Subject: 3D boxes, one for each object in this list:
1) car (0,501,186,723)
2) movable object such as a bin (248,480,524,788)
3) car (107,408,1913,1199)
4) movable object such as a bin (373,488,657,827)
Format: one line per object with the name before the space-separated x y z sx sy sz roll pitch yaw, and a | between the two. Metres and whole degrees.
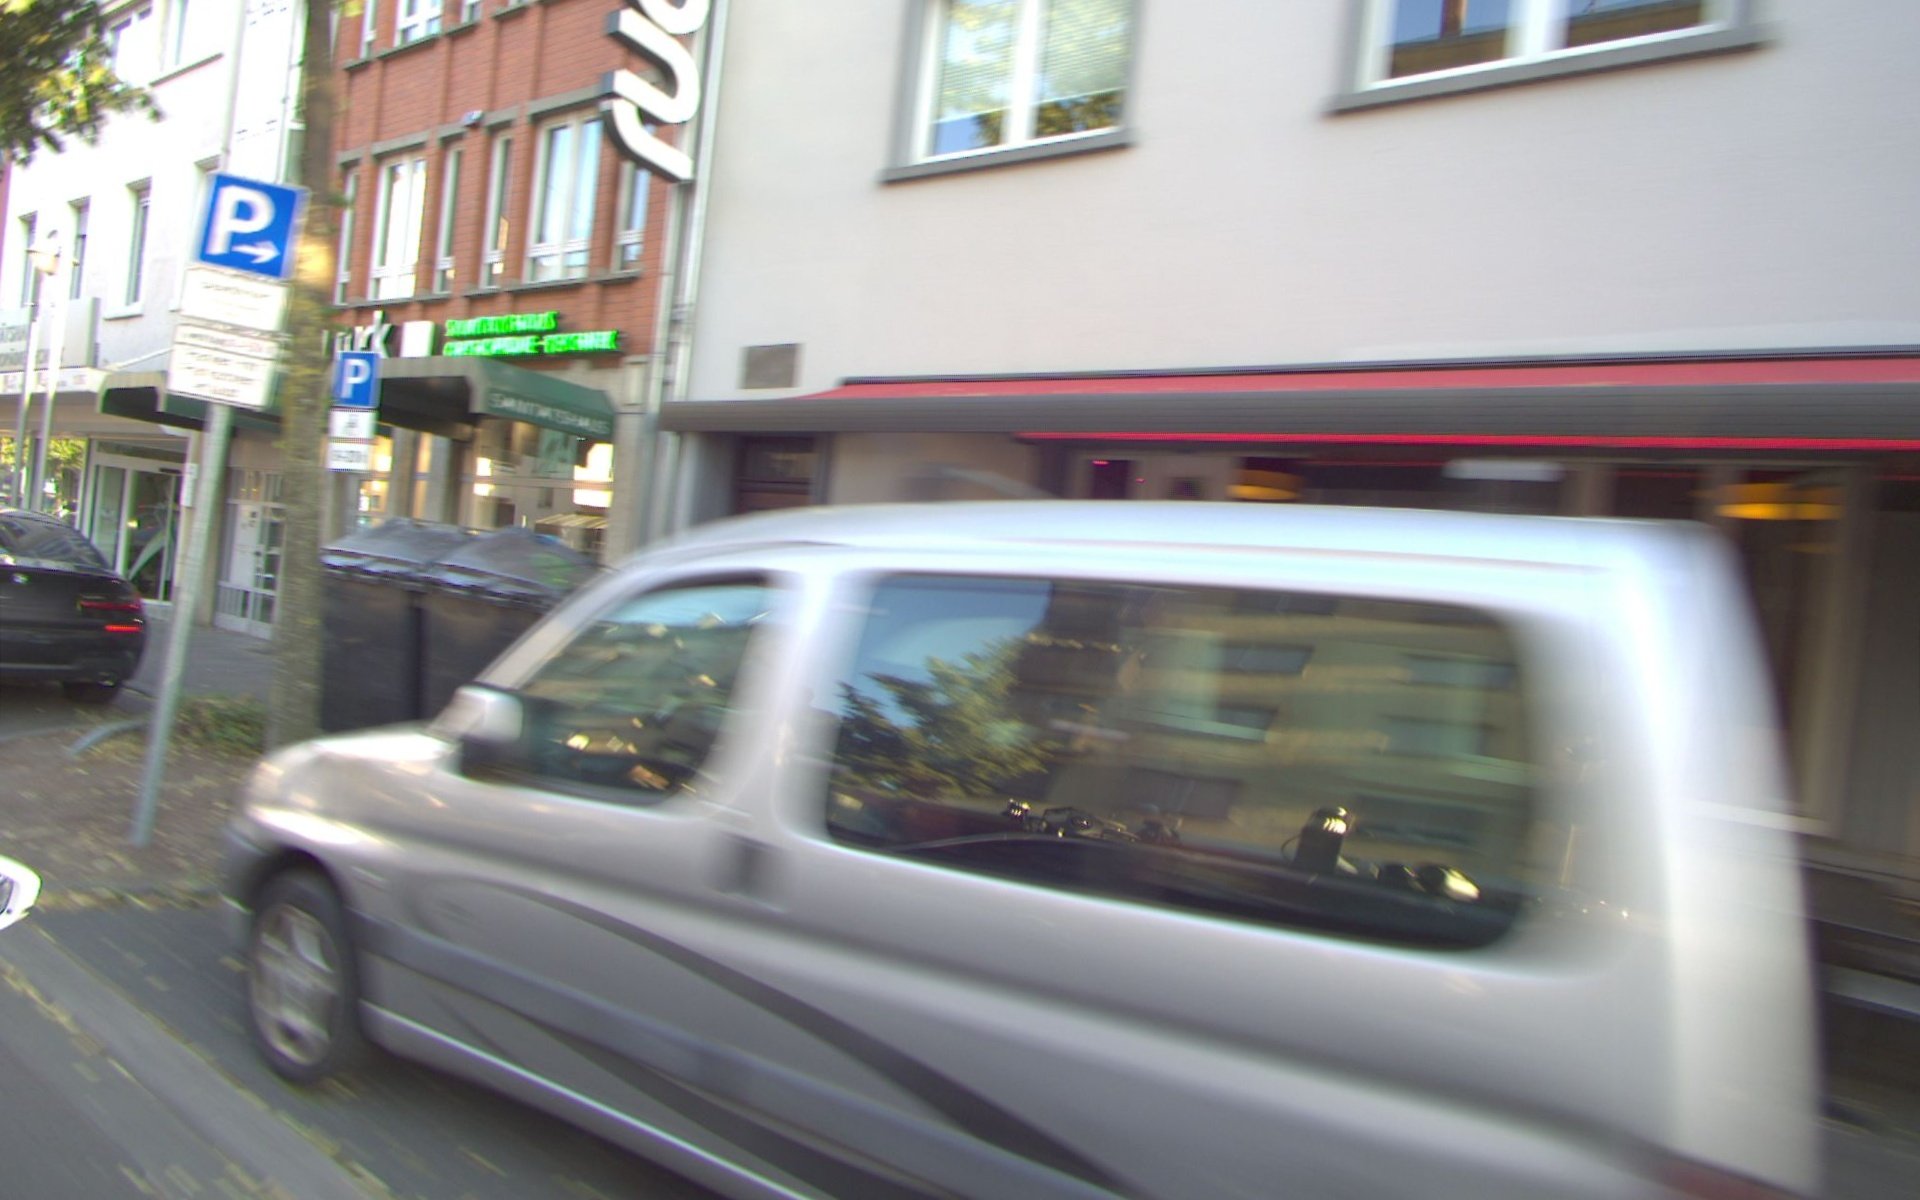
car | -8.071 -0.128 7.740 4.434 1.437 1.756 7 -1 31
movable object such as a bin | -3.793 0.200 6.664 1.330 1.794 0.837 6 -1 28
car | -0.360 0.596 2.822 3.942 1.799 1.658 7 -1 29
movable object such as a bin | -2.668 0.314 6.066 1.185 1.794 0.837 6 -1 28
